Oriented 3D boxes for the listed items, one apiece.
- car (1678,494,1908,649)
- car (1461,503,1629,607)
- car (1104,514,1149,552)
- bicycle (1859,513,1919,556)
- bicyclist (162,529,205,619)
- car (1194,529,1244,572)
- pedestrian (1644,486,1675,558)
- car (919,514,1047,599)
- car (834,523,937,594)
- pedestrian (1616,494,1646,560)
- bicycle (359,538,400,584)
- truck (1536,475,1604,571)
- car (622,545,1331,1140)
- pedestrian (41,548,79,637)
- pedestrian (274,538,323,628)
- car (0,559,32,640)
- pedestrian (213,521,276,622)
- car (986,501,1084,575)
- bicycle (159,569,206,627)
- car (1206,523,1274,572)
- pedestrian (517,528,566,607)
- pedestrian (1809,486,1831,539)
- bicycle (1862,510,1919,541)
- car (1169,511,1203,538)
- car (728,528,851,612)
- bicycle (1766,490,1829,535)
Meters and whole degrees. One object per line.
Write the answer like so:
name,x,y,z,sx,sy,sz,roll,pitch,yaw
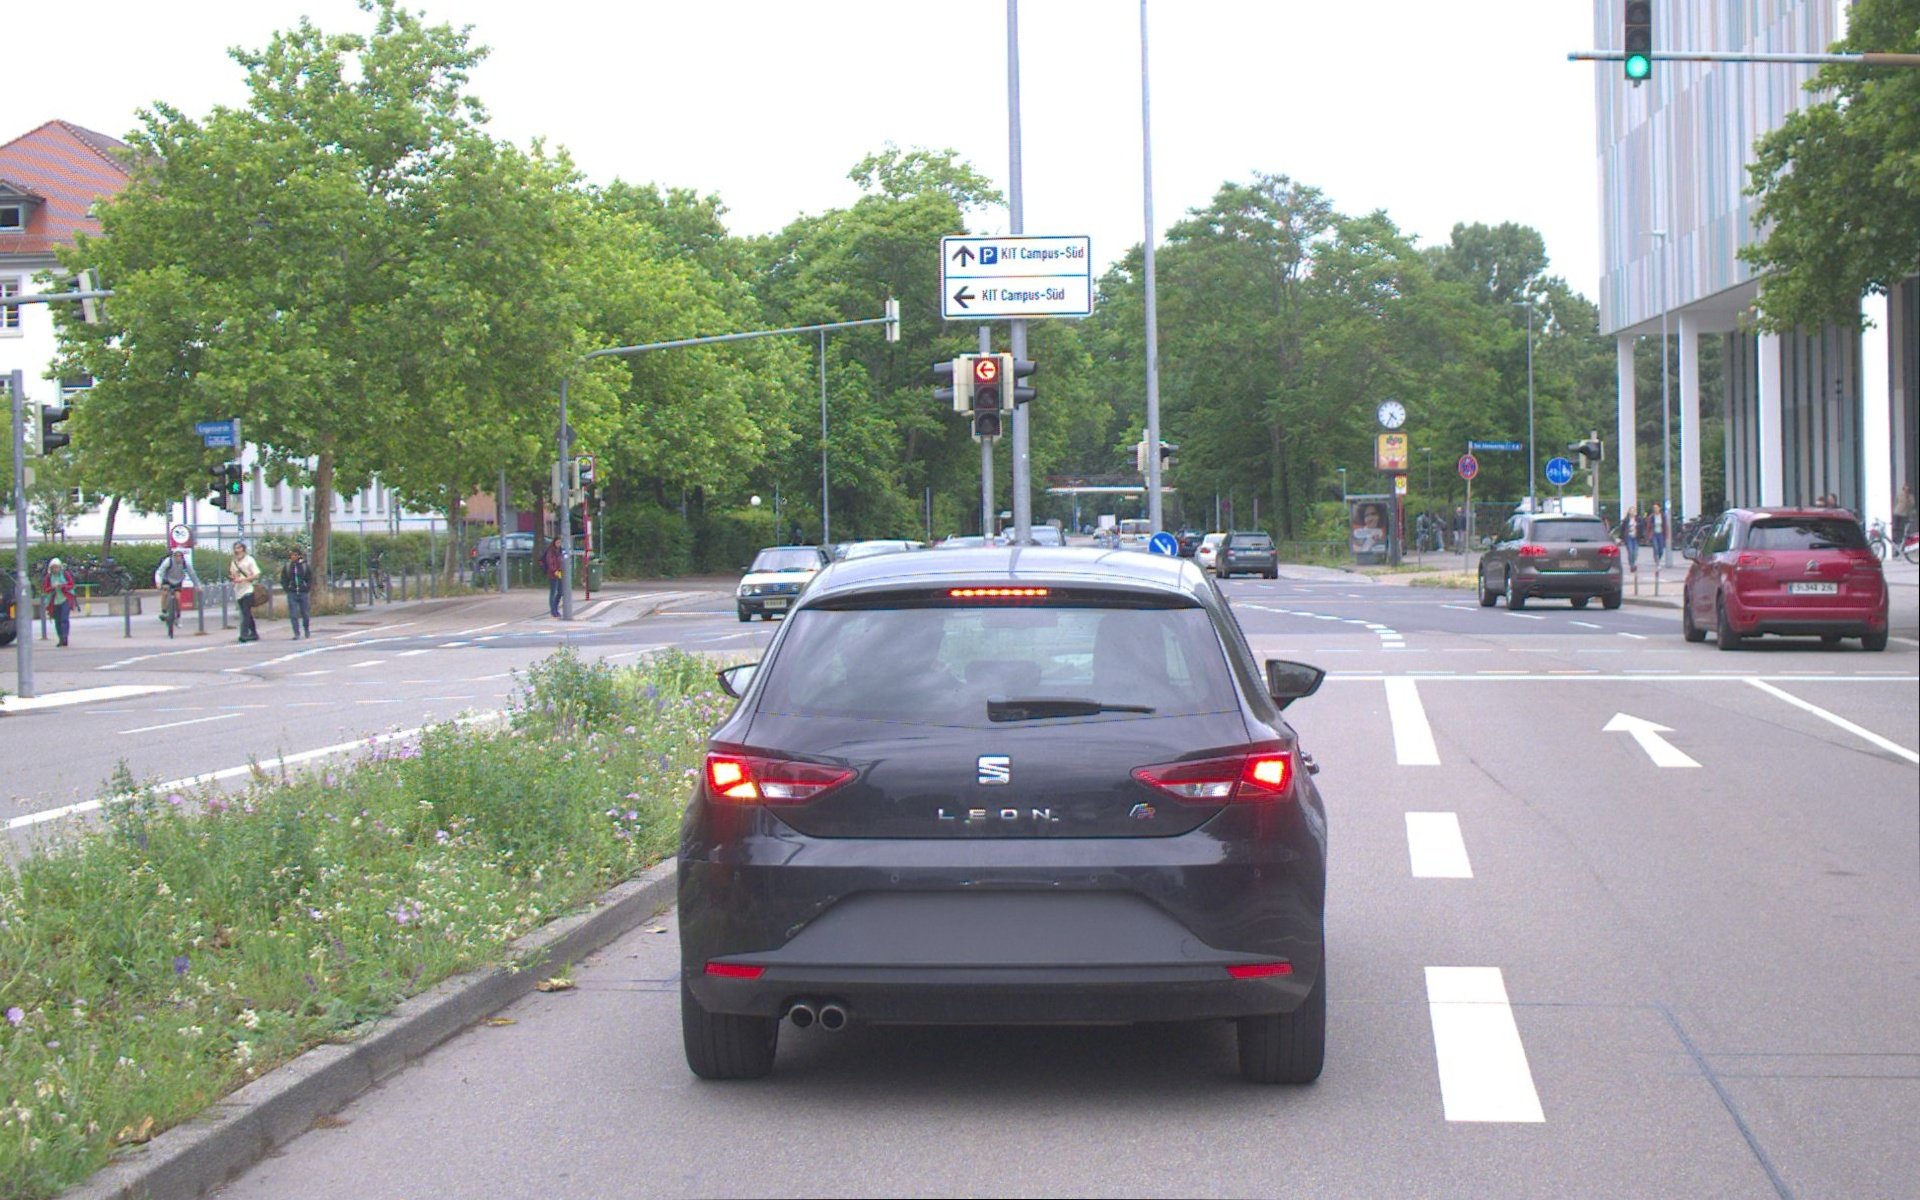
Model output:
car,9.333,-0.363,38.781,1.949,1.618,3.749,0,2,5
car,10.222,-0.824,60.334,1.914,1.658,4.115,-3,2,-4
car,7.216,-2.924,149.343,1.695,1.498,4.010,-3,2,0
bicycle,21.346,-1.489,77.641,1.885,0.895,0.697,-3,2,-14
bicyclist,-14.257,-0.483,63.162,0.666,1.630,0.962,0,1,-6
car,9.141,-1.755,121.628,1.616,1.349,4.000,-3,2,3
pedestrian,17.501,-1.955,86.011,0.687,1.774,0.677,-1,2,6
car,0.475,-0.835,65.277,1.764,1.455,4.790,-3,1,8
car,-1.657,-0.957,78.114,1.705,1.426,4.226,-3,2,7
pedestrian,16.787,-1.830,86.026,0.687,1.634,0.632,0,2,6
bicycle,-14.421,-0.976,85.443,0.607,1.056,2.044,-3,2,0
truck,14.874,-1.908,83.908,1.318,2.235,3.401,-3,2,6
car,0.224,0.560,10.338,1.753,1.427,3.768,0,1,6
pedestrian,-16.044,-0.126,61.275,0.570,1.521,0.849,-2,-3,-17
pedestrian,-11.778,-0.304,61.231,0.789,1.553,0.699,-1,-2,-13
car,-18.698,0.007,61.591,3.655,1.219,1.564,-1,9,1
pedestrian,-12.714,-0.499,61.084,0.840,1.734,0.831,-1,-3,-28
car,1.862,-1.532,84.484,1.921,1.658,4.398,-3,1,7
bicycle,-14.256,-0.044,63.074,0.666,1.058,1.620,0,1,-6
car,8.509,-1.617,104.665,1.899,1.349,3.882,-3,2,3
pedestrian,-8.642,-0.680,70.974,0.874,1.580,0.543,-3,2,0
pedestrian,22.542,-2.303,90.092,0.472,1.357,0.445,-2,2,17
bicycle,24.655,-1.959,90.822,1.479,0.746,0.566,-3,2,4
car,10.592,-3.542,161.112,1.505,1.189,3.163,-3,2,3
car,-3.128,-0.578,63.835,1.608,1.376,3.808,-3,2,7
bicycle,24.114,-2.532,98.975,1.772,1.207,0.570,-4,2,-27
